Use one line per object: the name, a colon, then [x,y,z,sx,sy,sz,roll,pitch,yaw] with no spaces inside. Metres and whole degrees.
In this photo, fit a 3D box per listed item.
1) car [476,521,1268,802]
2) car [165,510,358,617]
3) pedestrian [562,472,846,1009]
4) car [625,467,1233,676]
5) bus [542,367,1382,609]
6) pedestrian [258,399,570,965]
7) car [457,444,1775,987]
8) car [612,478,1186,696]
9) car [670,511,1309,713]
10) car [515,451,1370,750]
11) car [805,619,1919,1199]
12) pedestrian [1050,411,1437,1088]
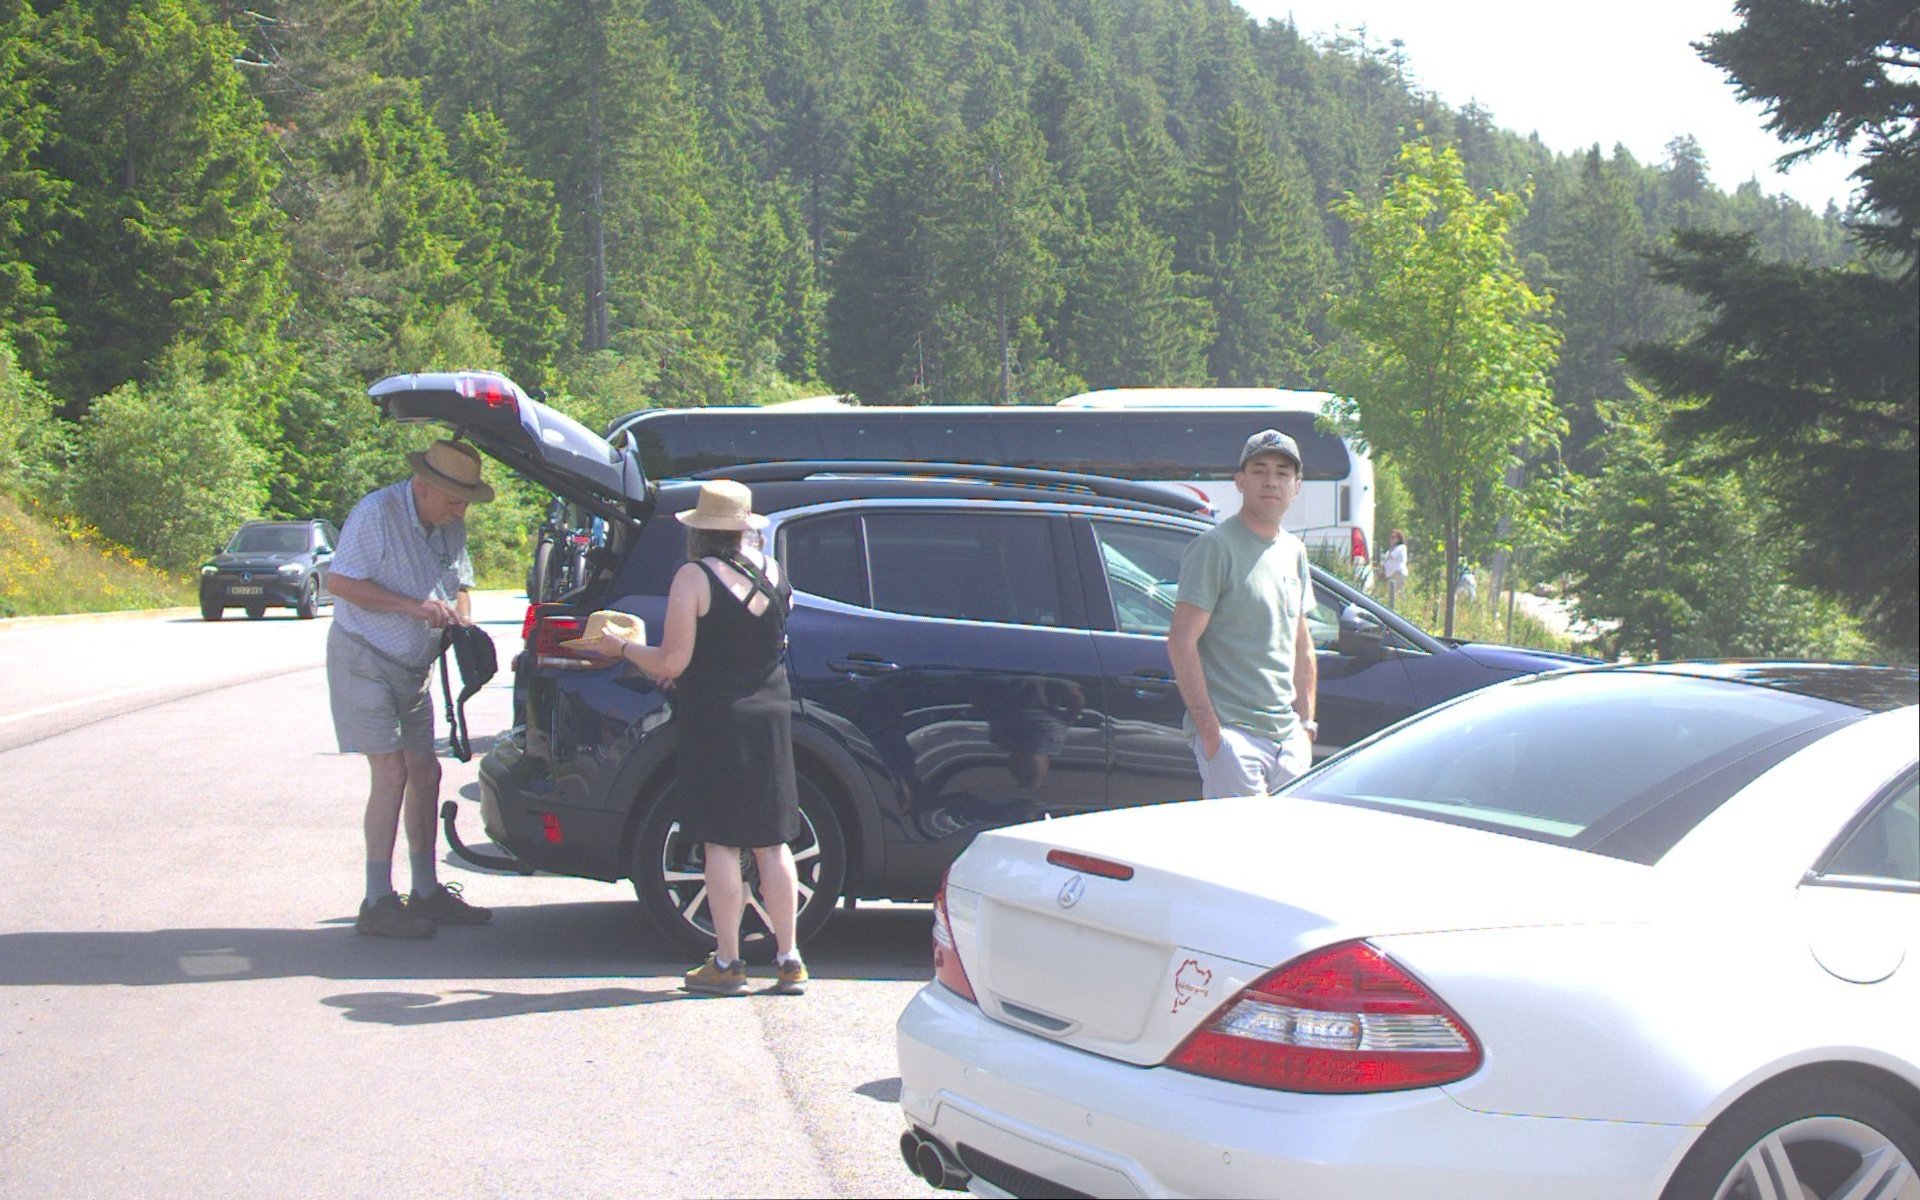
car: [-0.540,0.312,18.704,4.080,1.372,1.703,1,1,-9]
car: [-11.663,-0.649,57.733,1.994,1.641,4.567,-1,2,4]
pedestrian: [-0.800,0.420,10.678,0.714,1.607,0.537,1,0,-23]
car: [-0.294,-0.264,29.623,5.033,1.645,2.048,-1,1,-3]
bus: [0.118,-1.750,54.942,13.097,3.520,3.043,-1,1,8]
pedestrian: [-1.885,0.250,11.894,0.736,1.864,0.757,3,4,27]
car: [0.440,0.391,12.250,4.343,1.620,1.870,3,0,-8]
car: [-0.486,-0.124,26.498,4.243,1.548,1.838,-1,1,-3]
car: [0.162,0.054,23.842,4.243,1.264,1.838,-1,1,-3]
car: [-0.106,-0.022,20.937,4.949,1.690,1.945,-1,1,-1]
car: [2.080,0.776,6.771,4.397,1.291,1.756,2,2,-26]
pedestrian: [0.788,0.393,9.616,0.746,1.794,0.736,1,0,-35]
